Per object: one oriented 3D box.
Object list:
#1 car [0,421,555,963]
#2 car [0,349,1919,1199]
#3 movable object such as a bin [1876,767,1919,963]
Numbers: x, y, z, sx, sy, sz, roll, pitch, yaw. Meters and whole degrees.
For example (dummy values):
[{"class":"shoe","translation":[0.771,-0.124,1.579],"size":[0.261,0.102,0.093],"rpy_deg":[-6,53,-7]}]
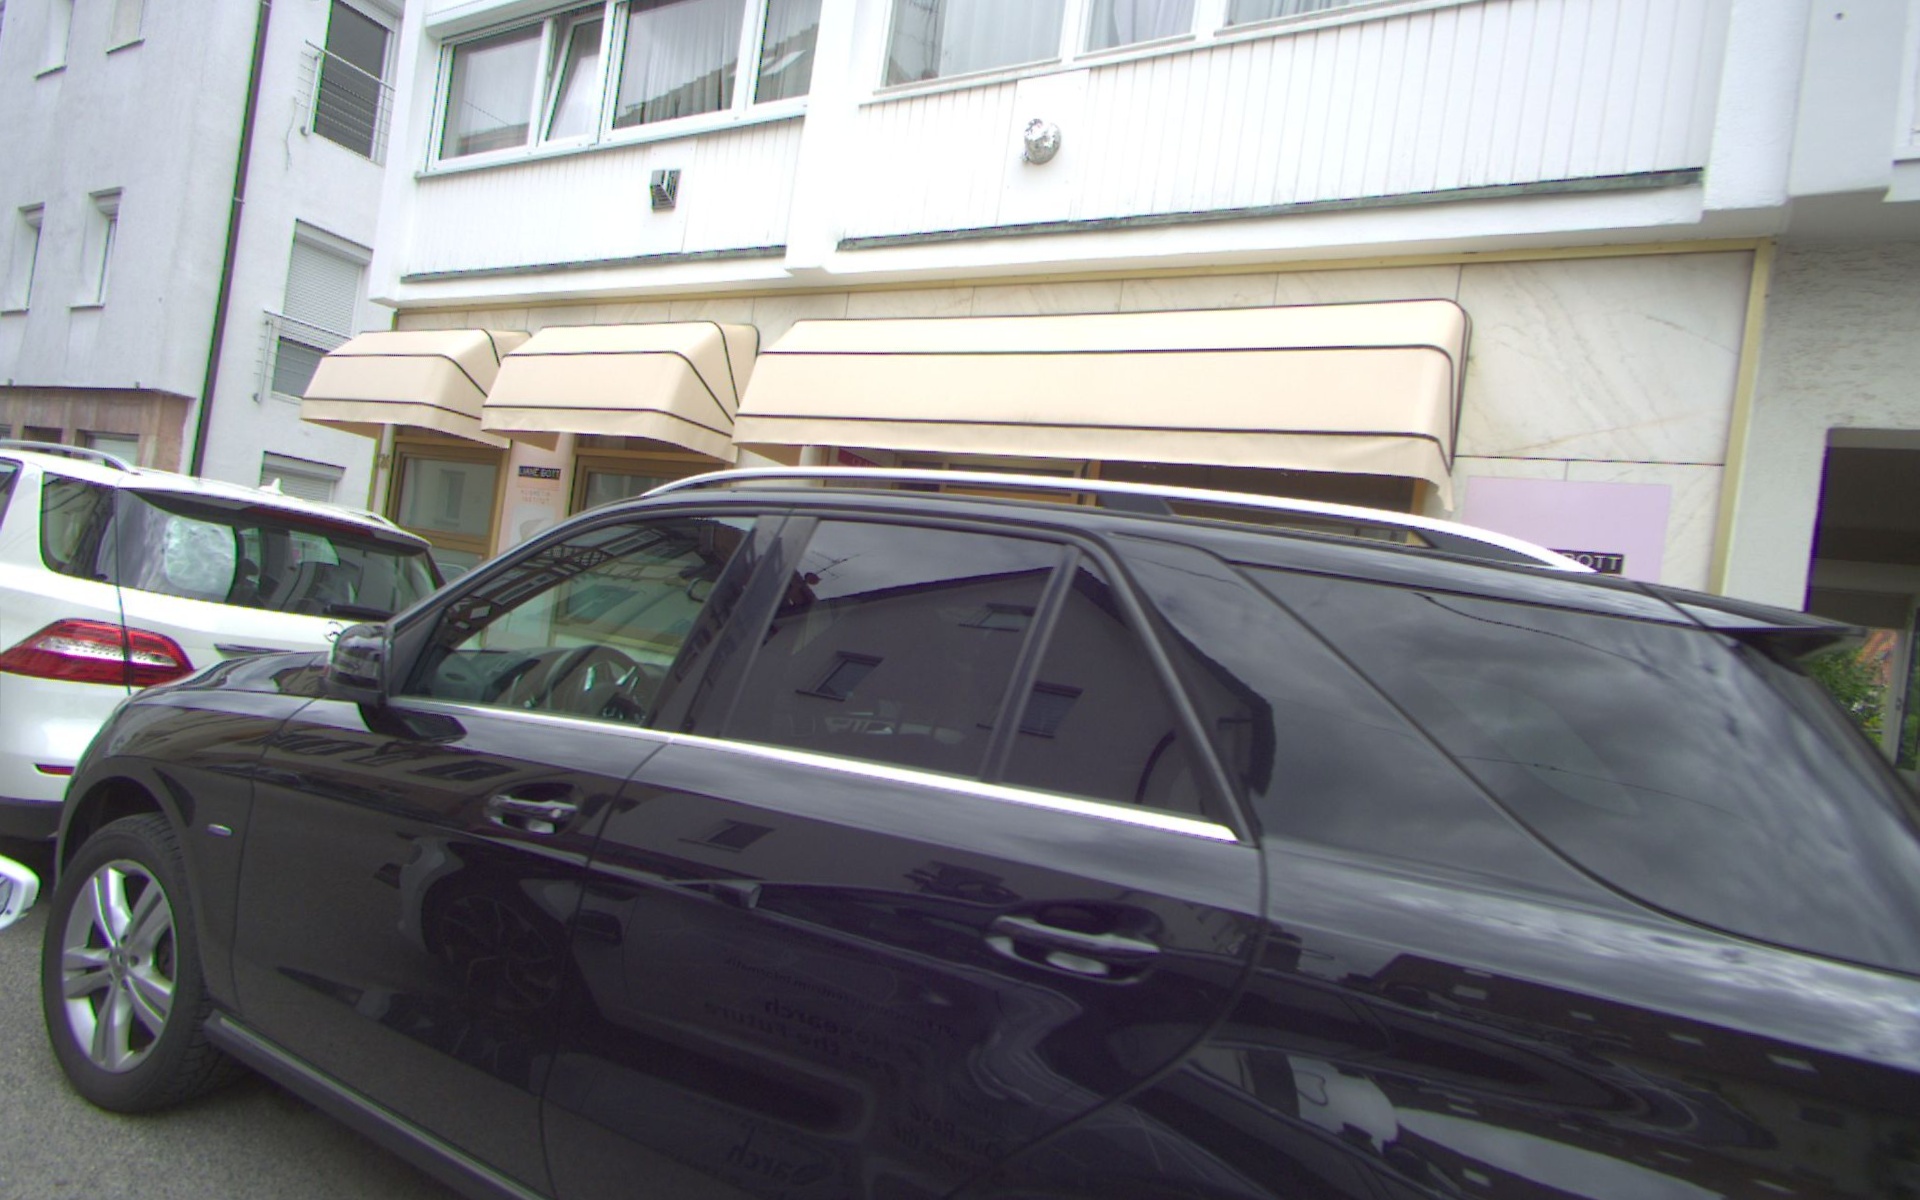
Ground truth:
[{"class":"car","translation":[-4.399,0.163,5.079],"size":[4.302,1.731,1.939],"rpy_deg":[7,-2,29]},{"class":"car","translation":[-0.398,0.622,2.645],"size":[4.295,1.799,1.947],"rpy_deg":[6,-3,30]},{"class":"movable object such as a bin","translation":[5.751,1.555,5.774],"size":[0.525,1.055,0.555],"rpy_deg":[8,1,32]}]
